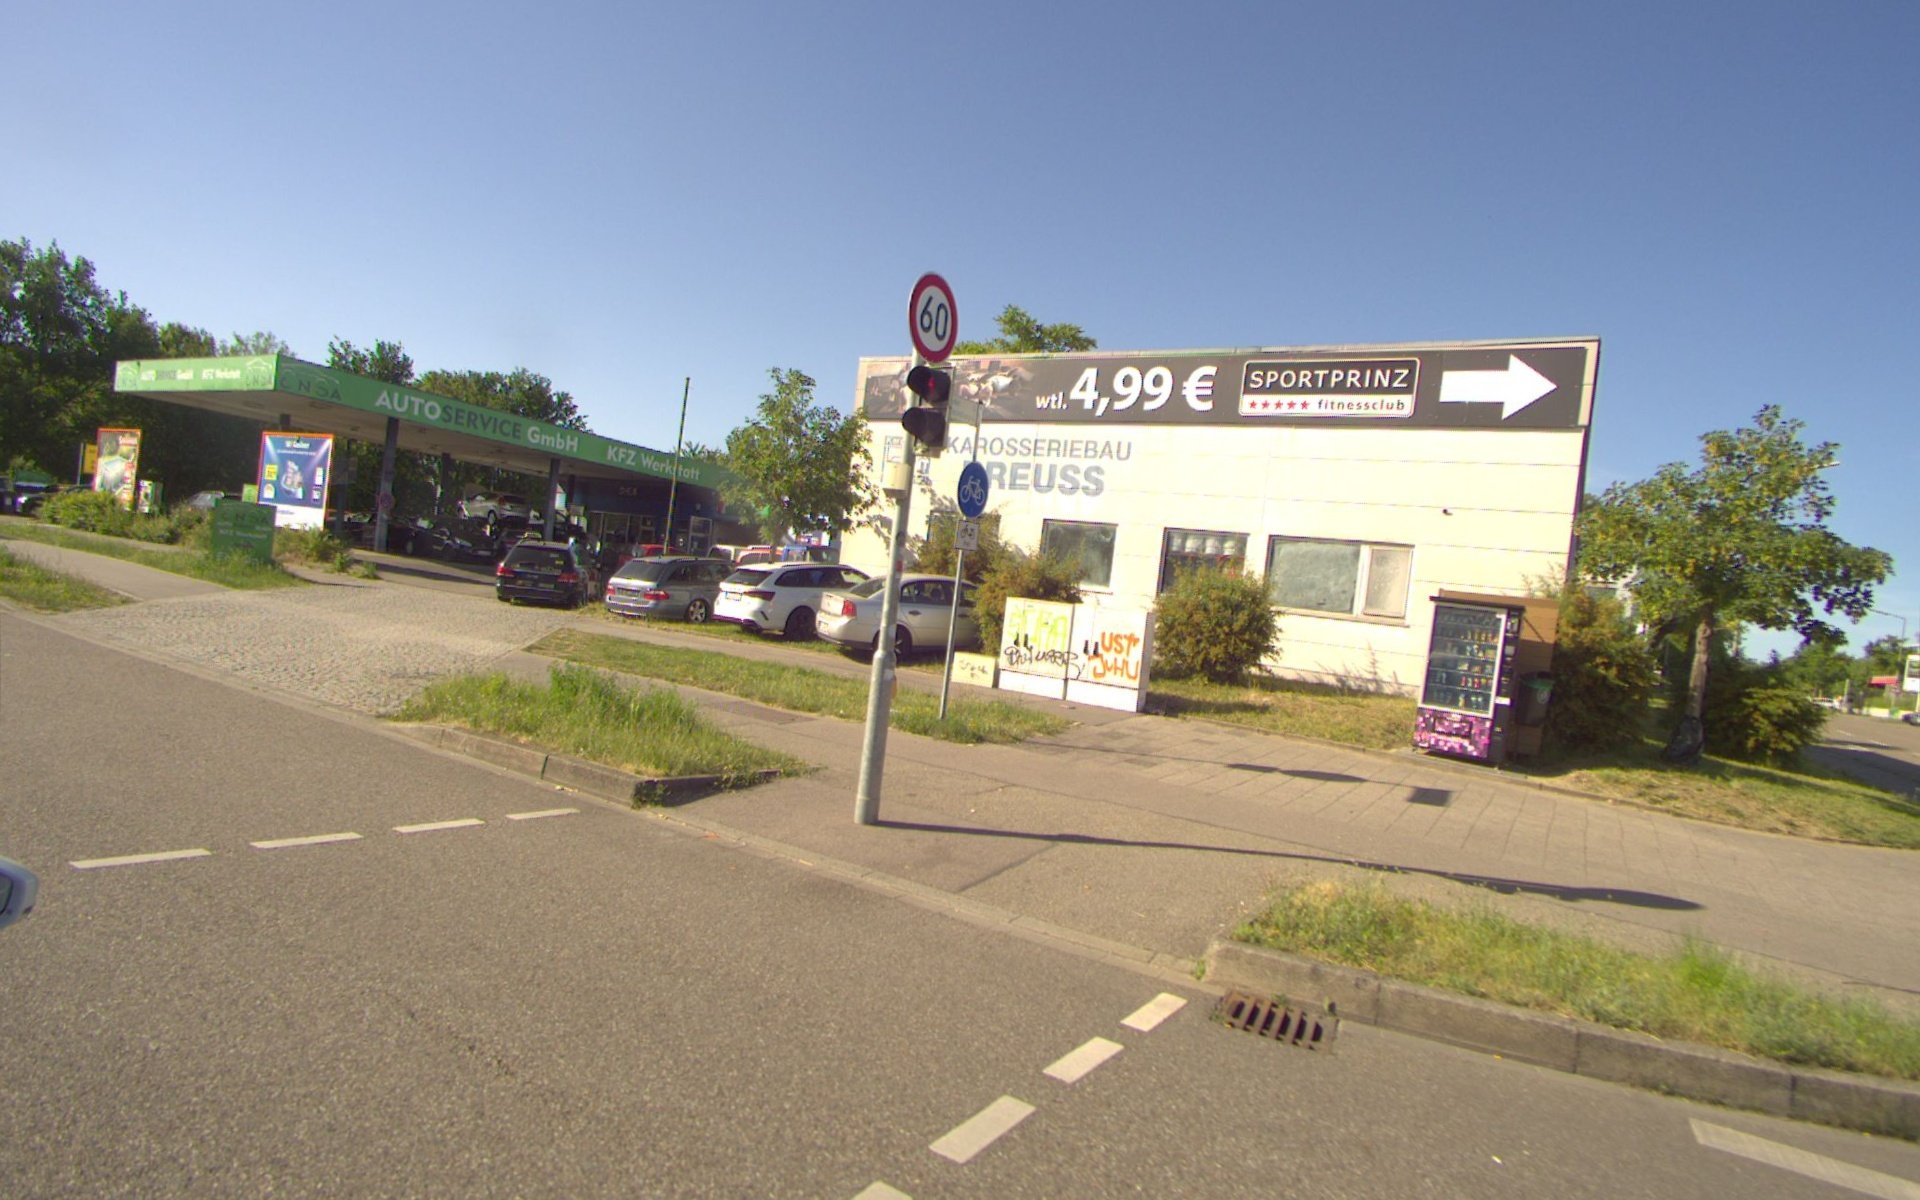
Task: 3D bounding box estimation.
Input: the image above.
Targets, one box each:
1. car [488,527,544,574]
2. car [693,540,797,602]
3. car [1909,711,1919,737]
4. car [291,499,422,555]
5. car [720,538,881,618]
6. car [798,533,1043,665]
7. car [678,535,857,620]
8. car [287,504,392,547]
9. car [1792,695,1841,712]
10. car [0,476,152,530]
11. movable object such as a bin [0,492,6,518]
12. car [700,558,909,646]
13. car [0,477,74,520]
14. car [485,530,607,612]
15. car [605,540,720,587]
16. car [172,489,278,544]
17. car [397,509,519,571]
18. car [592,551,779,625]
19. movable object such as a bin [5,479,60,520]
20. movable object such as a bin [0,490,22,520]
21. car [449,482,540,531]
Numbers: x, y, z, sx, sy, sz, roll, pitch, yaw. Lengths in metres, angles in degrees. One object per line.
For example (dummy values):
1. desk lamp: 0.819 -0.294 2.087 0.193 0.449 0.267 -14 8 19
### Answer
1. car: -16.554 -1.835 37.519 1.671 1.438 3.681 8 0 -24
2. car: -8.586 -1.140 40.469 1.892 1.929 3.698 7 -2 31
3. car: 72.155 9.312 73.151 4.081 1.874 1.719 7 0 31
4. car: -24.442 -2.932 40.847 3.929 1.503 1.999 8 -1 -5
5. car: -4.537 -0.645 28.555 4.145 1.887 1.893 6 3 30
6. car: -0.700 -0.055 17.806 3.944 2.044 1.673 0 7 -26
7. car: -5.069 -0.619 26.306 4.518 1.807 1.683 6 3 30
8. car: -30.231 -3.593 49.139 1.668 1.536 3.994 6 0 28
9. car: 97.457 11.781 114.557 3.936 1.379 1.778 6 -2 34
10. car: -36.387 -3.976 41.440 4.506 1.662 1.787 5 2 -29
11. movable object such as a bin: -40.423 -4.012 42.037 0.501 1.088 0.581 7 0 -10
12. car: -3.024 -0.049 20.050 1.701 1.474 3.901 8 7 43
13. car: -43.232 -4.739 46.269 1.743 1.503 3.289 7 -2 33
14. car: -9.546 -0.737 23.571 1.870 1.551 4.817 5 2 -15
15. car: -10.779 -1.323 36.647 1.818 1.570 3.761 4 4 31
16. car: -27.602 -3.155 37.769 4.179 1.592 1.746 7 1 33
17. car: -17.949 -2.153 35.957 3.934 1.666 1.997 7 -2 32
18. car: -5.822 -0.321 21.638 1.811 1.310 3.599 6 6 33
19. movable object such as a bin: -39.032 -4.225 42.364 1.240 1.446 0.987 7 0 -11
20. movable object such as a bin: -39.906 -3.975 42.203 0.501 1.134 0.581 7 0 -10
21. car: -20.956 -4.210 45.239 3.716 1.777 1.920 6 1 33
